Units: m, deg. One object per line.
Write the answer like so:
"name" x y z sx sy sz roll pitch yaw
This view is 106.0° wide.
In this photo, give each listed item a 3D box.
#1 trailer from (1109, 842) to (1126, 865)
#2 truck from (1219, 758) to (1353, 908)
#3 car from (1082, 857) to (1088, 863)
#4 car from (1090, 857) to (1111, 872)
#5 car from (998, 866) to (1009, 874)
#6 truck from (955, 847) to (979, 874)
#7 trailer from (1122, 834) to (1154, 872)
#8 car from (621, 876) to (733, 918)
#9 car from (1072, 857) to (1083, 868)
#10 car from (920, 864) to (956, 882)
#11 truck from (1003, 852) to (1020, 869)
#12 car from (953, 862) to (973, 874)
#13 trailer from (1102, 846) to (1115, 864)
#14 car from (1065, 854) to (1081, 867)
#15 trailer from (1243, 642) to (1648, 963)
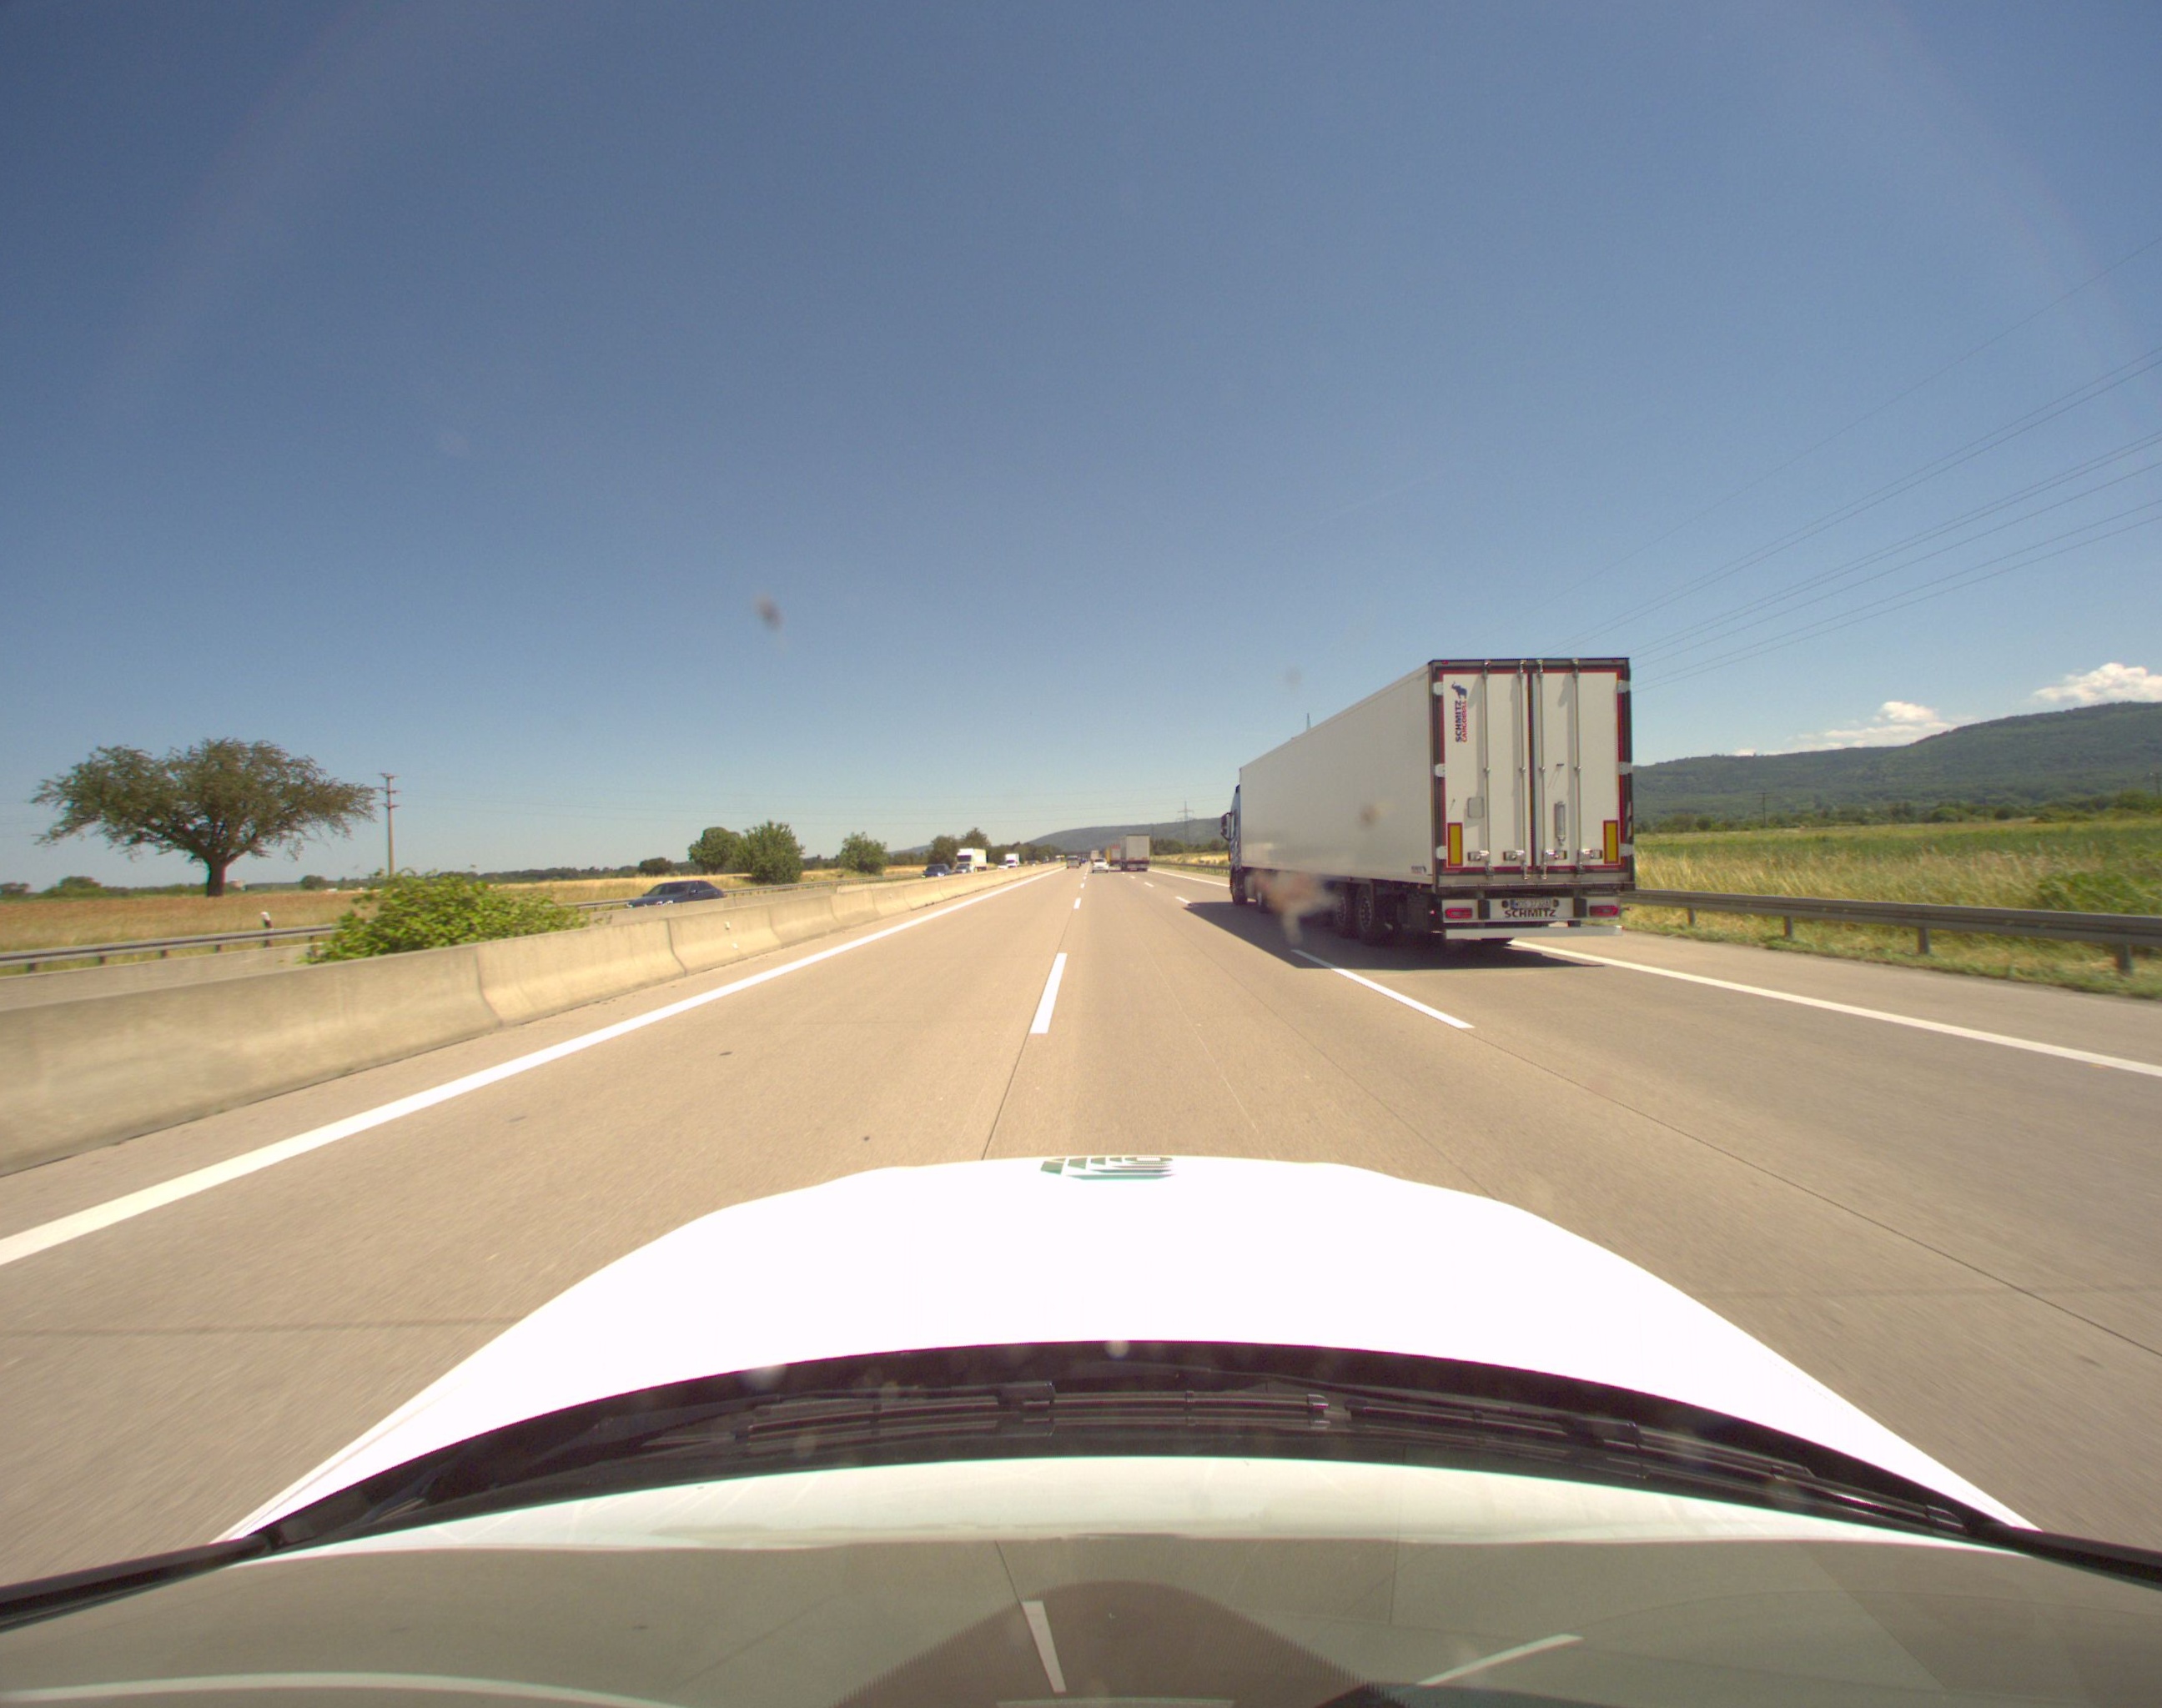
"trailer" 6.904 -0.055 154.659 2.863 4.101 13.516 -1 0 2
"truck" 6.022 -0.565 24.794 2.741 4.044 5.466 -1 0 1
"car" 1.105 1.694 240.099 1.777 1.881 4.000 -1 0 1
"car" 2.075 1.073 86.118 2.099 1.536 4.124 -1 0 2
"car" -13.489 2.790 141.790 1.675 1.146 4.395 -2 0 -2
"truck" -17.681 0.985 126.796 2.809 4.044 5.679 -1 0 1
"trailer" 6.417 -0.094 93.992 3.007 4.061 14.209 -1 0 1
"car" -15.157 1.569 30.899 1.707 1.359 5.042 -1 0 0
"car" -0.632 1.658 158.749 1.986 1.957 4.000 -1 0 1
"car" -10.542 1.389 60.353 1.766 1.240 4.677 -1 0 0
"truck" -13.300 1.231 156.910 2.539 3.142 7.922 -1 0 0
"car" -14.166 1.684 97.982 1.730 1.373 4.905 -1 0 0
"trailer" 7.306 0.227 216.313 3.204 4.564 13.458 -1 0 1
"car" -1.218 1.037 126.522 2.246 2.014 4.298 -1 0 1
"trailer" 5.887 -0.616 16.741 2.699 4.044 12.903 -1 0 1
